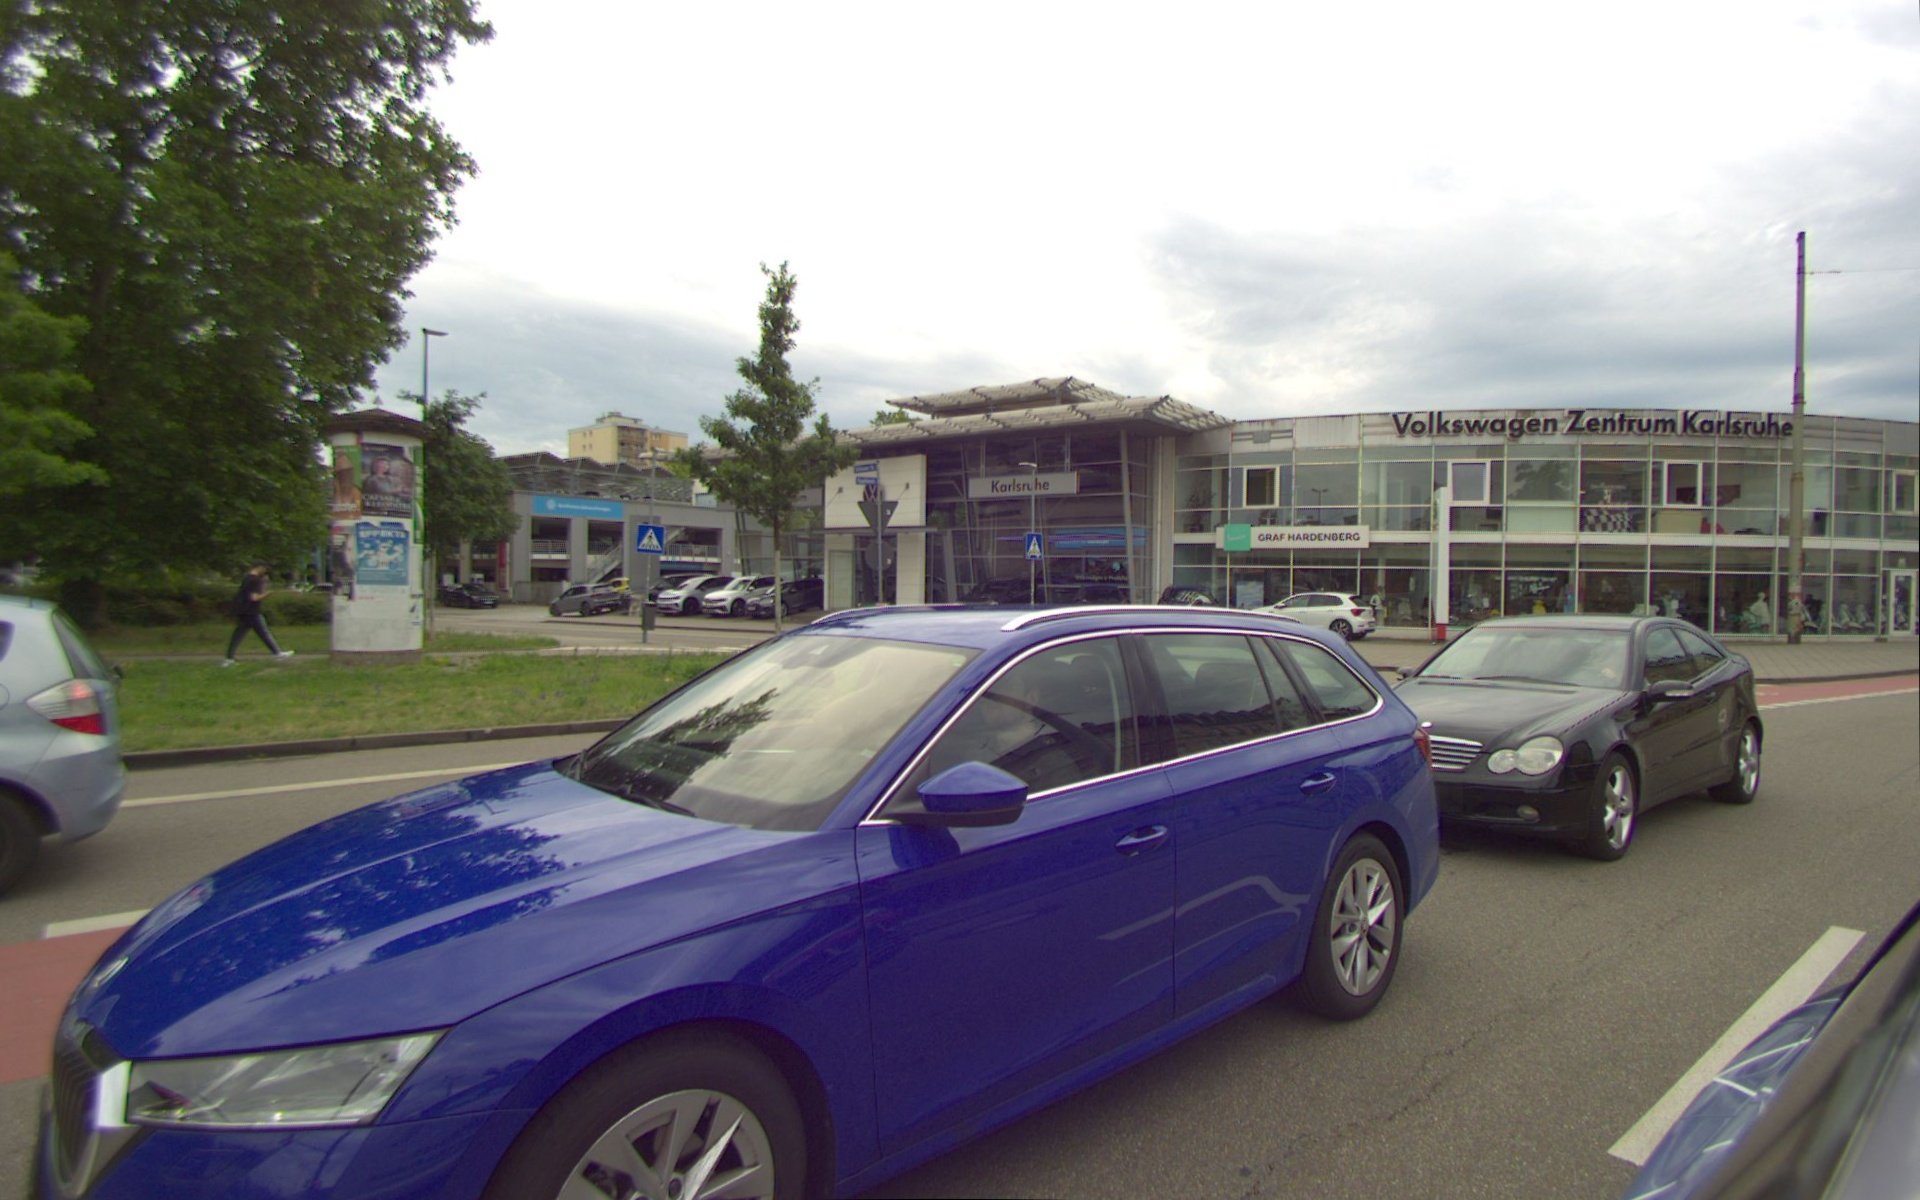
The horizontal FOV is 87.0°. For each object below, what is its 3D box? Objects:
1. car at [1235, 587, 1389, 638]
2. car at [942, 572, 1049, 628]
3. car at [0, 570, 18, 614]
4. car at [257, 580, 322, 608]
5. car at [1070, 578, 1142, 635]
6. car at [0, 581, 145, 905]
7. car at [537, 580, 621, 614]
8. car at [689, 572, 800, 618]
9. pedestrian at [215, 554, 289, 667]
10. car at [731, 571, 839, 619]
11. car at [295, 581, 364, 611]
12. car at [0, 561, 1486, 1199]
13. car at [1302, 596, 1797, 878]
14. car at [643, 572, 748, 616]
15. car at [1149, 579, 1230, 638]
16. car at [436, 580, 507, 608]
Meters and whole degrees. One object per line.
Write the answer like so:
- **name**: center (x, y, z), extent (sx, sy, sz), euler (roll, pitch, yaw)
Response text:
- **car**: center (11.003, 0.358, 31.790), extent (4.243, 1.471, 1.757), euler (1, 1, 40)
- **car**: center (1.340, -0.047, 35.843), extent (1.846, 1.652, 4.464), euler (0, 4, 31)
- **car**: center (-36.510, -0.321, 36.327), extent (4.408, 1.567, 1.854), euler (1, 1, 13)
- **car**: center (-41.732, -0.402, 62.968), extent (4.446, 1.643, 1.838), euler (2, 2, 35)
- **car**: center (4.699, 0.158, 33.122), extent (1.824, 1.522, 4.340), euler (0, 4, 2)
- **car**: center (-6.125, 0.652, 4.349), extent (4.027, 1.485, 1.752), euler (0, 1, -41)
- **car**: center (-18.650, -0.156, 49.491), extent (3.988, 1.583, 1.896), euler (0, 2, 35)
- **car**: center (-9.411, -0.270, 44.590), extent (1.850, 1.719, 4.716), euler (0, 4, 36)
- **pedestrian**: center (-12.155, 0.165, 17.397), extent (0.527, 1.867, 0.985), euler (1, 1, 6)
- **car**: center (-7.328, -0.245, 42.845), extent (1.886, 1.717, 4.421), euler (0, 4, 36)
- **car**: center (-37.076, -0.275, 59.495), extent (4.446, 1.643, 1.838), euler (2, 2, 35)
- **car**: center (-0.113, 0.662, 3.336), extent (4.387, 1.507, 1.783), euler (-1, 2, -41)
- **car**: center (4.336, 0.707, 7.209), extent (3.996, 1.439, 1.714), euler (0, 1, -39)
- **car**: center (-11.992, -0.325, 46.185), extent (1.859, 1.719, 4.419), euler (0, 4, 37)
- **car**: center (7.346, 0.213, 32.738), extent (1.867, 1.581, 4.219), euler (1, 3, 4)
- **car**: center (-28.999, -0.392, 60.042), extent (4.446, 1.567, 1.876), euler (2, 2, 35)
